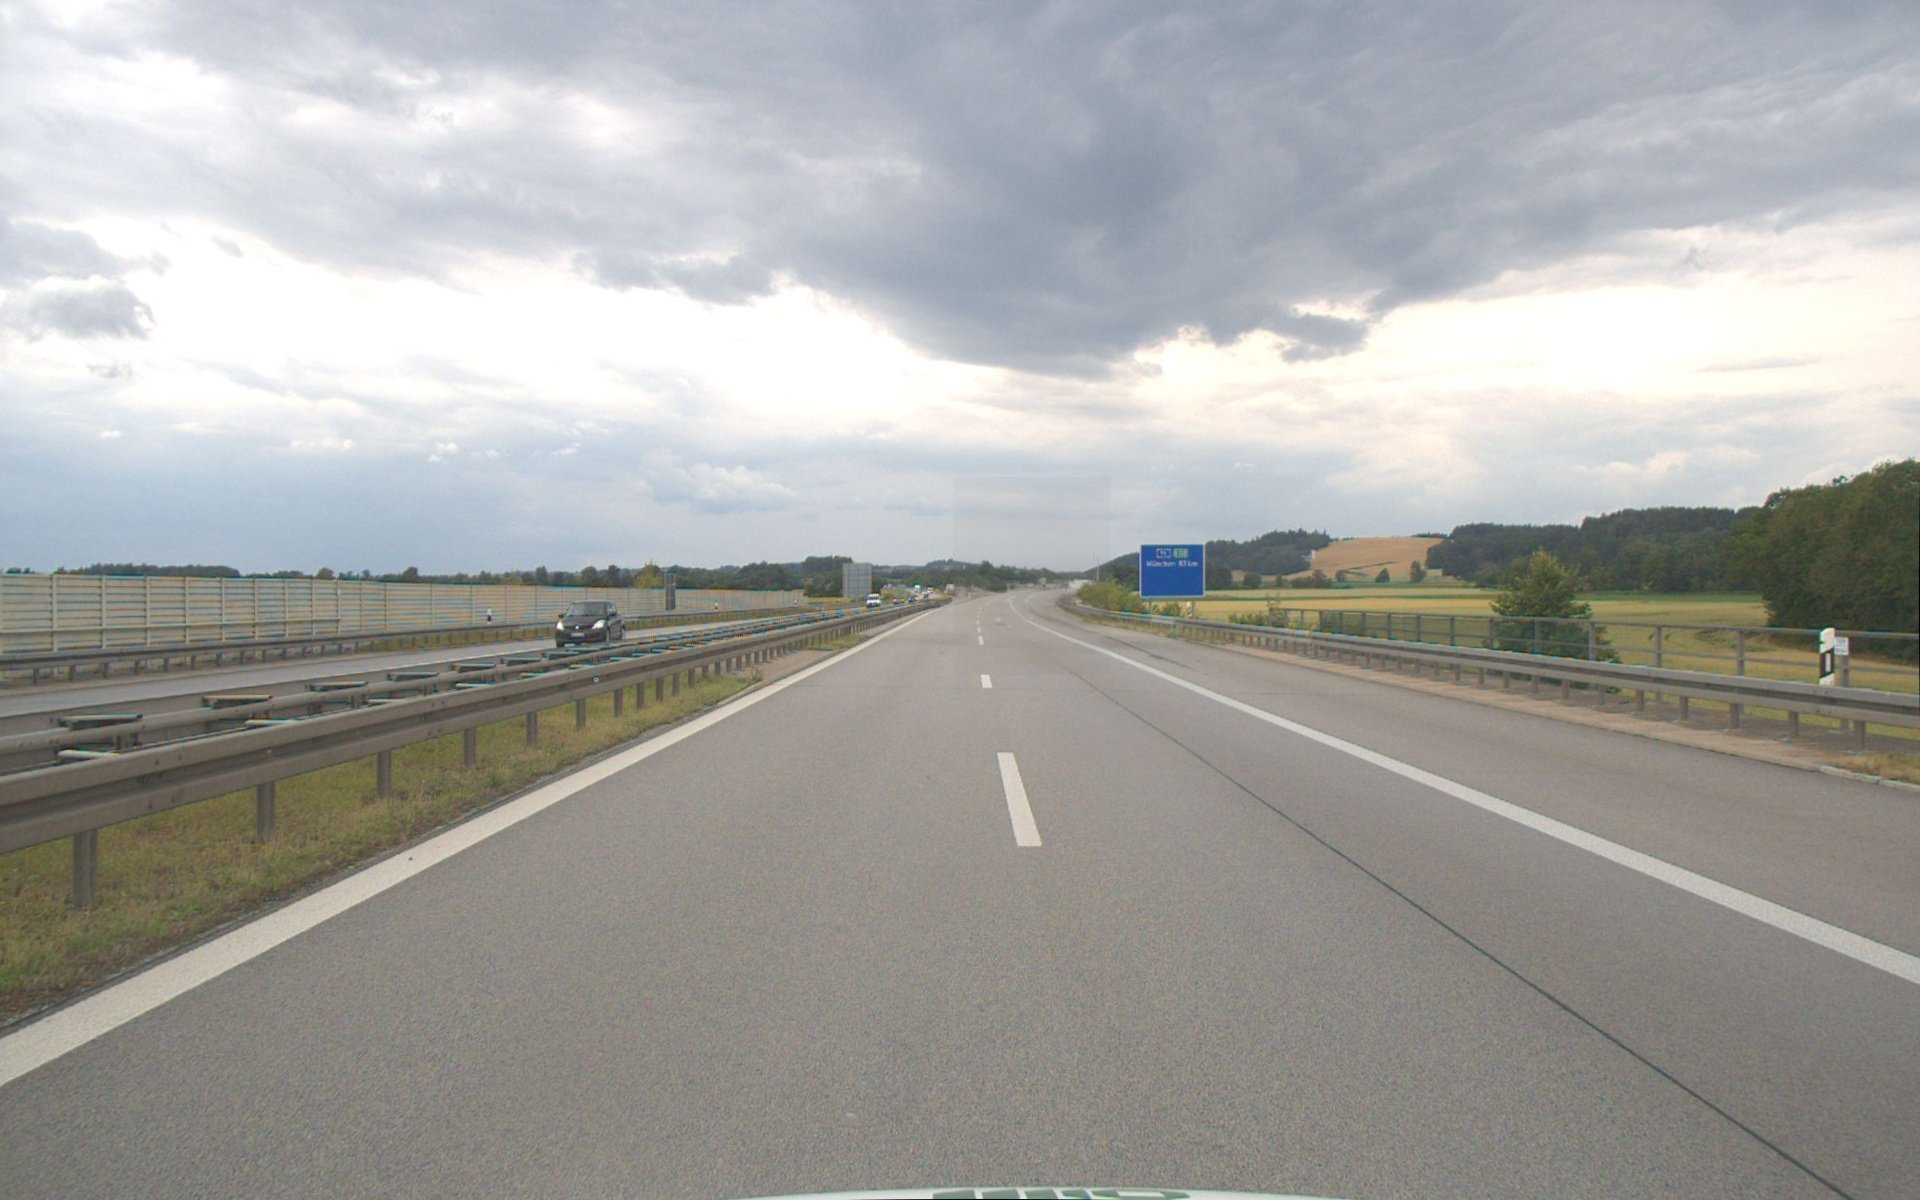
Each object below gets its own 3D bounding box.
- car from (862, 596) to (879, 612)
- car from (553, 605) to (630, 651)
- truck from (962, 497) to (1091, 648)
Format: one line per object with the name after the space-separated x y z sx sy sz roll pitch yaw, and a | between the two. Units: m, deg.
-11.295 0.459 209.709 1.720 1.771 4.914 6 1 0 | car
-12.112 0.903 54.532 1.636 1.410 4.000 -2 0 0 | car
1.995 -0.860 57.489 3.598 4.489 16.338 0 0 -1 | truck
